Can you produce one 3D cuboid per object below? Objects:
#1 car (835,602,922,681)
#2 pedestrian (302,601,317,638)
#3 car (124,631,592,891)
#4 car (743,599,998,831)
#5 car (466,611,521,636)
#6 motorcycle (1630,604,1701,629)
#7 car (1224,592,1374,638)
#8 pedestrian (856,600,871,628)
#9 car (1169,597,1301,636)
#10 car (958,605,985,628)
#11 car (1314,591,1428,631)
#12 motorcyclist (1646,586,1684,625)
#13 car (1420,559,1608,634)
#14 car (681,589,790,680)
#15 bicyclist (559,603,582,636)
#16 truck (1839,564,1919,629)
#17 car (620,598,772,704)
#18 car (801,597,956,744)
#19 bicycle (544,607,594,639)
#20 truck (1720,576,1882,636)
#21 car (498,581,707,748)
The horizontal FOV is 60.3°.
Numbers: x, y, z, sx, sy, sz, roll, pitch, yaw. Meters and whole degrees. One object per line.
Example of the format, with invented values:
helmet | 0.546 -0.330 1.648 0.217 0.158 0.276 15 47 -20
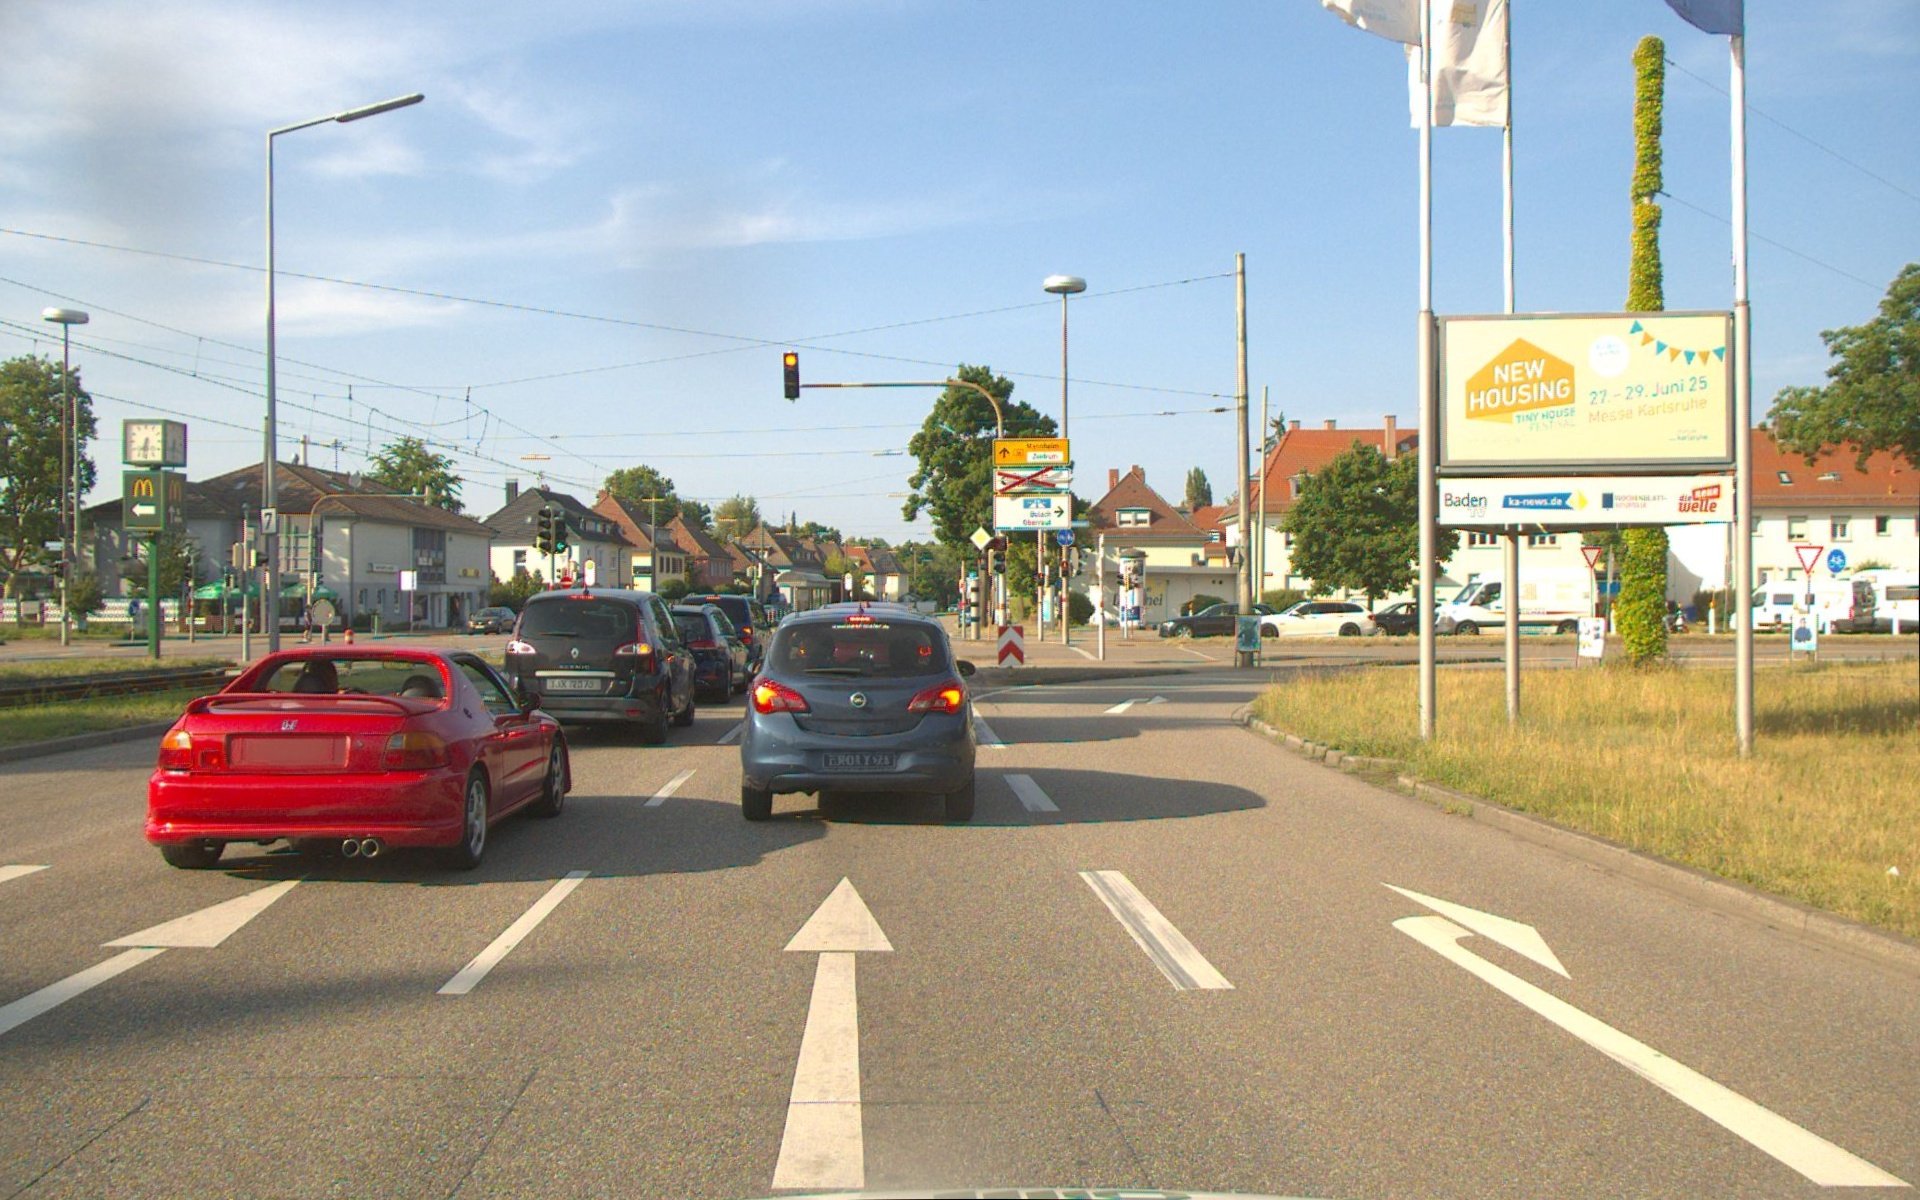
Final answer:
car | -1.629 0.782 33.083 1.623 1.468 4.012 -1 0 -3
pedestrian | -28.994 0.864 73.700 0.502 1.627 0.539 0 0 -7
car | -3.505 0.867 10.402 1.697 1.227 3.844 2 0 -3
car | -0.724 0.766 13.212 1.707 1.532 4.219 0 0 -4
car | -25.679 1.310 91.155 1.628 1.369 4.079 -1 -1 5
motorcycle | 24.956 0.581 58.545 2.225 0.882 0.690 0 0 -2
car | 12.068 0.538 59.062 4.990 1.590 1.840 0 0 0
pedestrian | -5.471 0.788 93.684 0.737 1.525 0.827 1 -1 1
car | 10.395 0.615 62.666 4.725 1.436 1.716 0 0 0
car | 0.726 1.052 107.009 1.640 1.422 3.999 1 -1 0
car | 15.528 0.424 62.579 3.905 1.478 1.716 0 0 0
motorcyclist | 24.950 0.186 58.543 1.044 1.375 0.679 0 0 -2
car | 19.787 -0.124 59.274 6.081 2.629 2.000 0 0 -1
car | -4.443 0.650 33.301 1.475 1.680 4.744 -1 0 1
bicyclist | -17.292 0.862 73.420 0.868 1.456 1.134 1 -1 -10
truck | 43.839 -0.156 75.852 5.974 2.904 1.884 -1 -1 44
car | -4.094 0.748 26.300 1.665 1.534 4.553 0 0 0
car | -1.000 0.770 20.000 1.672 1.579 3.975 -1 0 -3
bicycle | -17.341 1.018 73.417 2.036 1.371 1.106 1 -1 -10
truck | 38.036 0.238 74.978 2.252 2.568 6.278 0 0 -35
car | -3.956 0.664 18.908 1.728 1.700 4.081 0 0 -4
